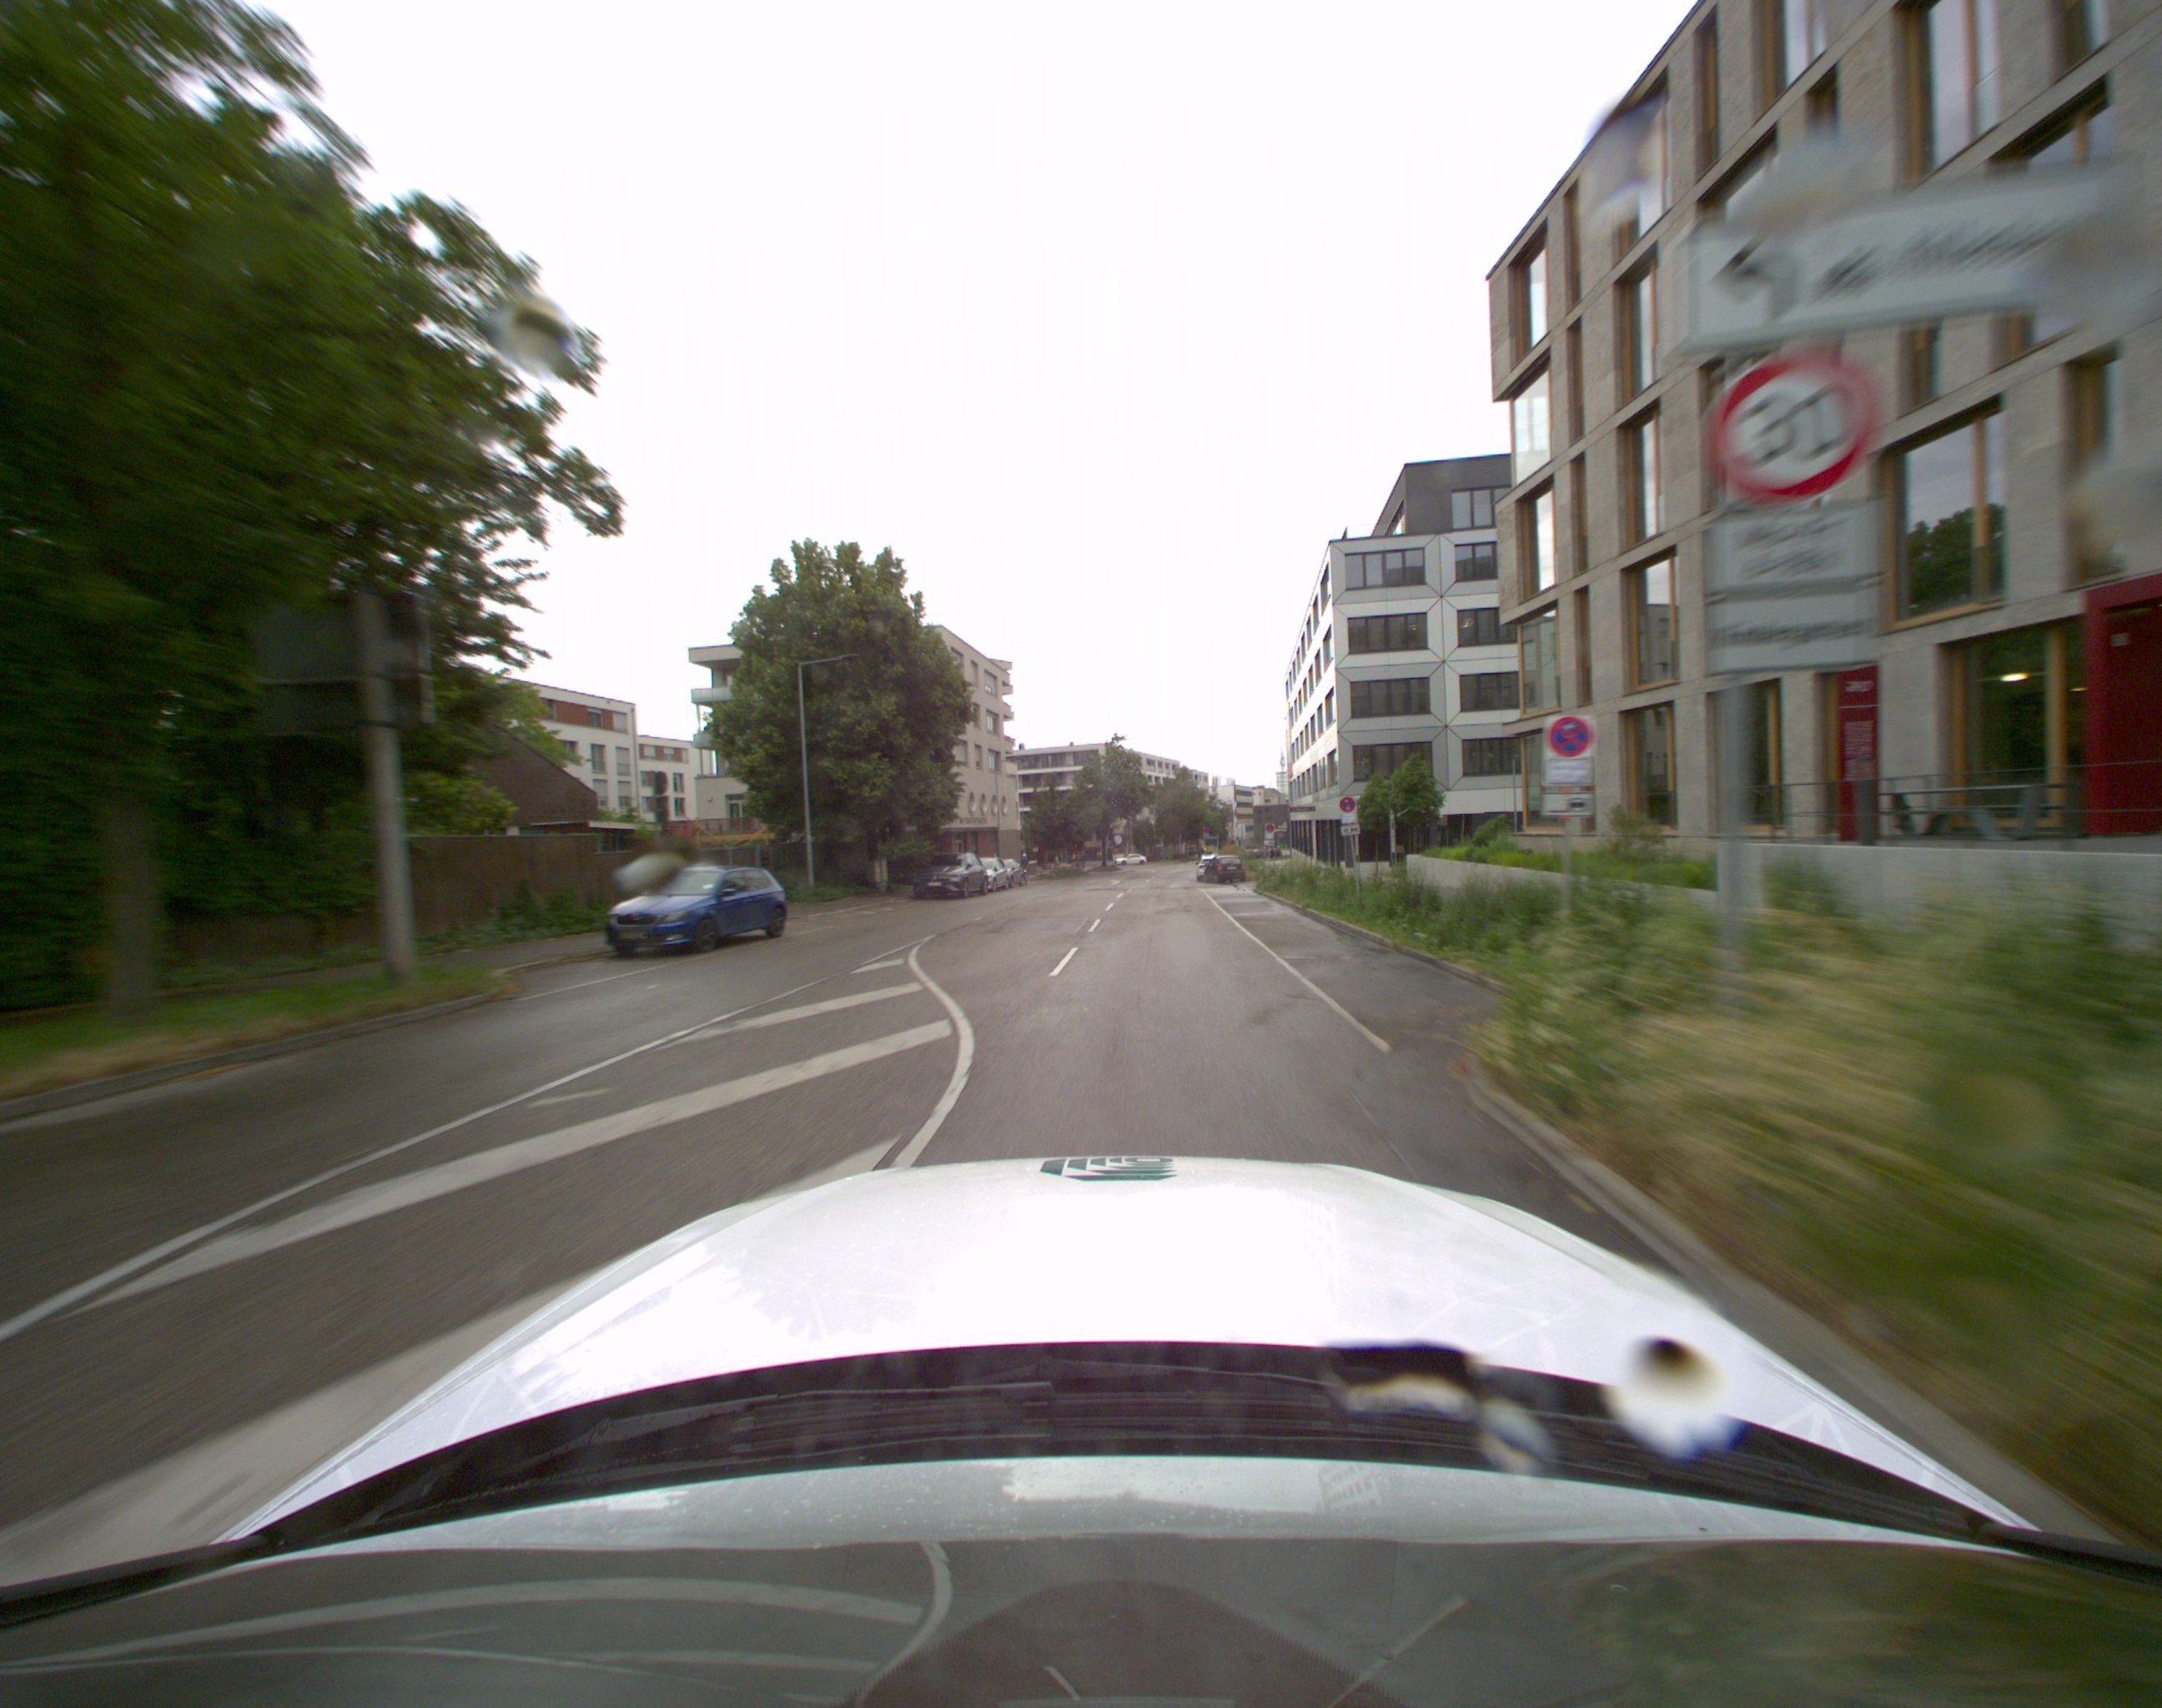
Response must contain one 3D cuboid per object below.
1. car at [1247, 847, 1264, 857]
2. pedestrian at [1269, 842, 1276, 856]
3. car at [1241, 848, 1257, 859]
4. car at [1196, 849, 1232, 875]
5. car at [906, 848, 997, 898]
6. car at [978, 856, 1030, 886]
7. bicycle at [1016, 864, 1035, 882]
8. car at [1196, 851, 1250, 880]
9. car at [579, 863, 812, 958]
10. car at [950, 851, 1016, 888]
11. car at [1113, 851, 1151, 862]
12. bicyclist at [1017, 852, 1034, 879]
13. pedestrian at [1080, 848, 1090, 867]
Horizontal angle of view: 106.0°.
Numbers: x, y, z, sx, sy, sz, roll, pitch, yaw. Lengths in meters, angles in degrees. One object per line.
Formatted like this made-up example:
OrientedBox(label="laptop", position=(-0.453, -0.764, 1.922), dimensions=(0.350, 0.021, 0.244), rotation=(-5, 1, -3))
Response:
OrientedBox(label="car", position=(26.509, -0.304, 123.718), dimensions=(1.792, 1.484, 4.518), rotation=(-2, 0, 21))
OrientedBox(label="pedestrian", position=(25.172, -0.712, 106.874), dimensions=(0.816, 1.796, 1.213), rotation=(-3, -1, 15))
OrientedBox(label="car", position=(24.507, -0.025, 118.791), dimensions=(1.532, 1.478, 3.680), rotation=(-2, 1, 22))
OrientedBox(label="car", position=(8.135, 0.461, 50.229), dimensions=(2.028, 1.464, 4.512), rotation=(-1, 0, 8))
OrientedBox(label="car", position=(-5.013, 0.705, 32.342), dimensions=(1.982, 1.786, 5.423), rotation=(-1, 0, 8))
OrientedBox(label="car", position=(-3.979, 0.869, 42.688), dimensions=(1.869, 1.463, 3.856), rotation=(-1, 0, 8))
OrientedBox(label="bicycle", position=(-3.131, 1.074, 46.237), dimensions=(0.798, 0.979, 2.256), rotation=(-1, 0, 3))
OrientedBox(label="car", position=(7.812, 0.612, 45.197), dimensions=(2.040, 1.458, 4.050), rotation=(-1, 0, -4))
OrientedBox(label="car", position=(-6.981, 0.942, 15.328), dimensions=(1.983, 1.470, 4.194), rotation=(-1, 0, 7))
OrientedBox(label="car", position=(-4.535, 0.712, 38.243), dimensions=(1.979, 1.593, 4.499), rotation=(-1, 0, 7))
OrientedBox(label="car", position=(6.860, 0.323, 109.706), dimensions=(4.706, 1.292, 1.985), rotation=(-1, 0, -22))
OrientedBox(label="bicyclist", position=(-3.136, 0.652, 46.255), dimensions=(0.798, 1.522, 1.202), rotation=(-1, 0, 2))
OrientedBox(label="pedestrian", position=(0.475, 0.407, 91.140), dimensions=(1.052, 2.014, 1.099), rotation=(-1, -1, 0))
